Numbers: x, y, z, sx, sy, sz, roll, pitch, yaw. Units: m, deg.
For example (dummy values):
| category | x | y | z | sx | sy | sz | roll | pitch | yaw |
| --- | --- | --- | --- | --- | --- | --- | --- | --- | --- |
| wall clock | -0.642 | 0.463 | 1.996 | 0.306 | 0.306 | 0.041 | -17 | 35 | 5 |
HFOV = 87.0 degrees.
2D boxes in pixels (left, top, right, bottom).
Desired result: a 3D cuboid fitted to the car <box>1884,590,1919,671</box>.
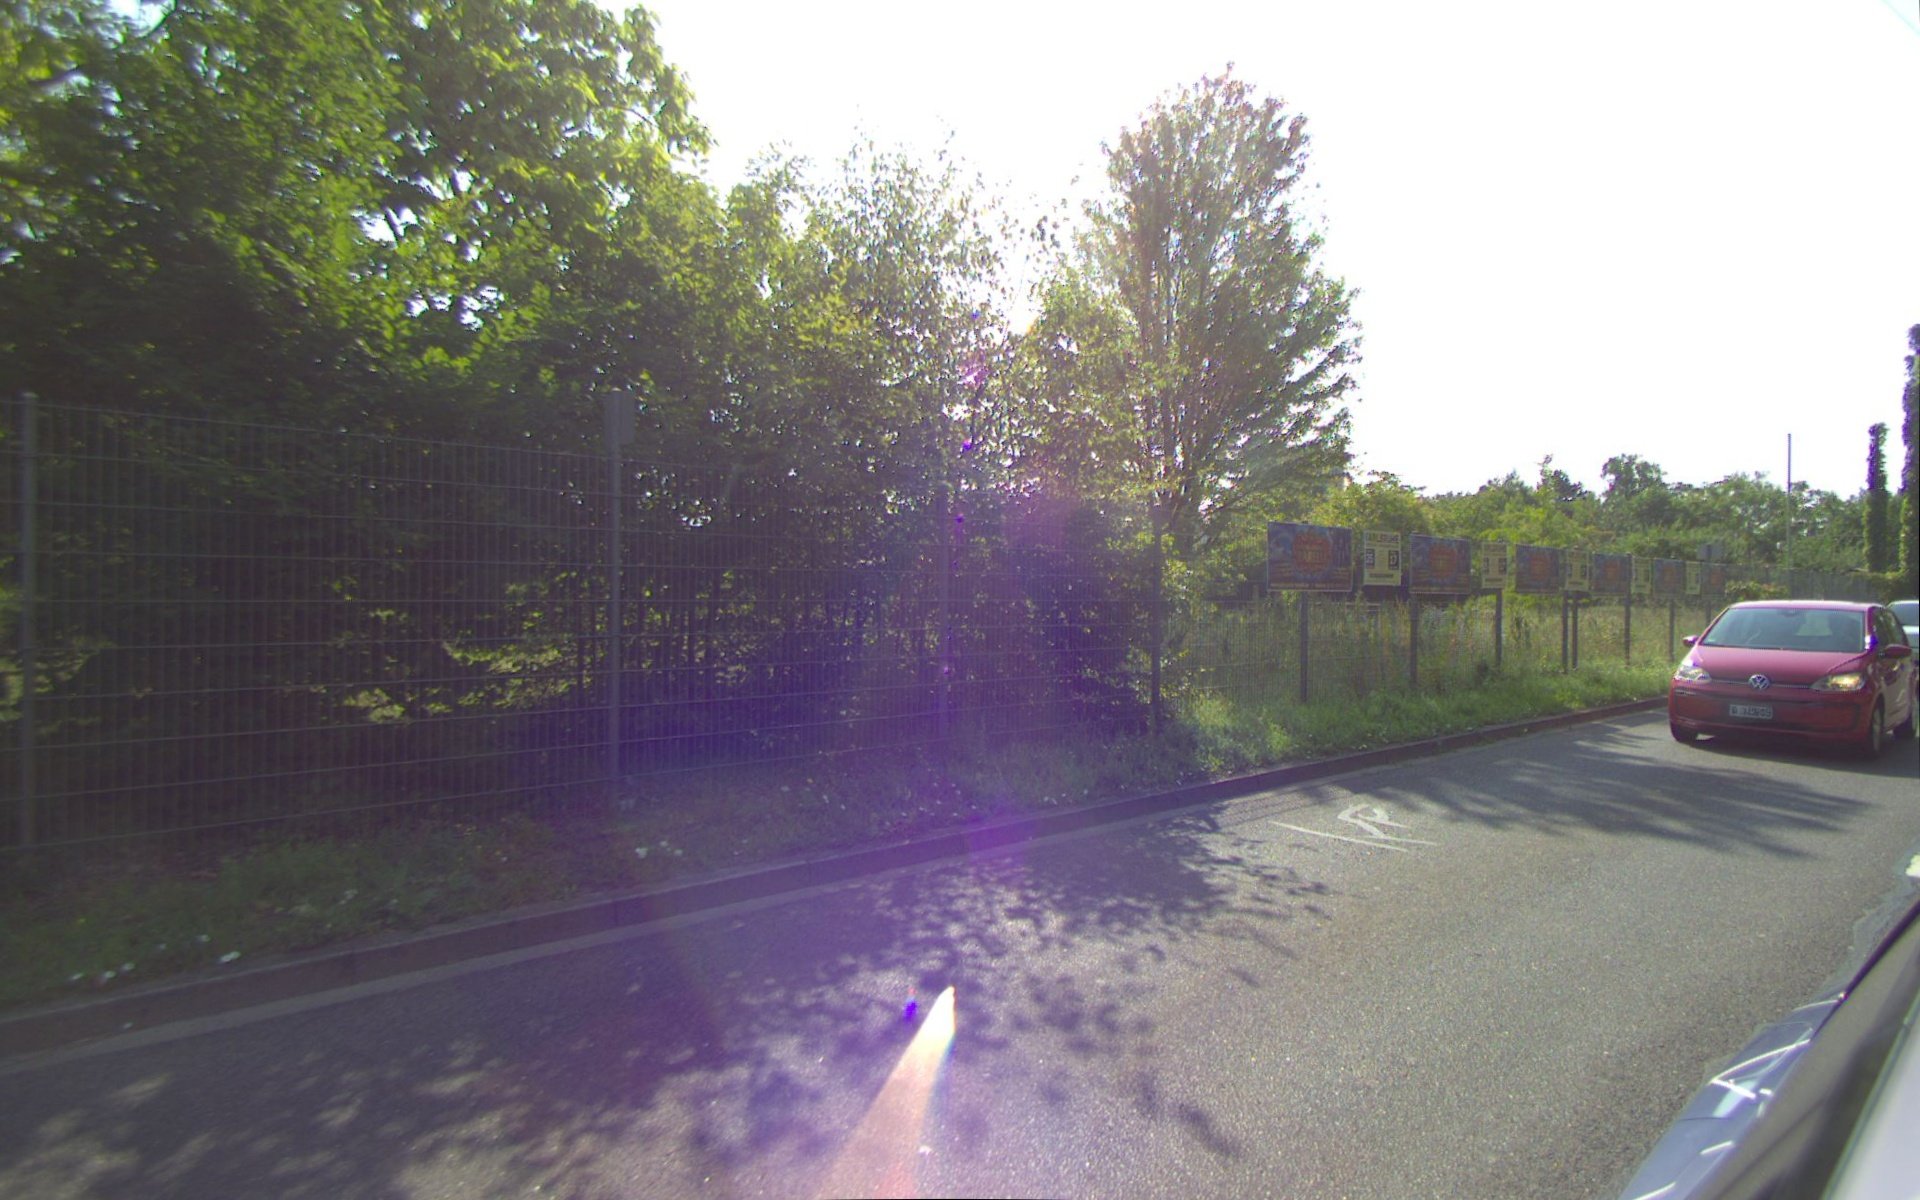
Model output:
| category | x | y | z | sx | sy | sz | roll | pitch | yaw |
| --- | --- | --- | --- | --- | --- | --- | --- | --- | --- |
| car | 19.578 | 0.553 | 19.965 | 3.832 | 1.494 | 1.647 | -1 | 0 | -42 |

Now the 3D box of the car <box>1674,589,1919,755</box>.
| category | x | y | z | sx | sy | sz | roll | pitch | yaw |
| --- | --- | --- | --- | --- | --- | --- | --- | --- | --- |
| car | 8.934 | 0.614 | 10.612 | 3.411 | 1.416 | 1.578 | -1 | 2 | -41 |
